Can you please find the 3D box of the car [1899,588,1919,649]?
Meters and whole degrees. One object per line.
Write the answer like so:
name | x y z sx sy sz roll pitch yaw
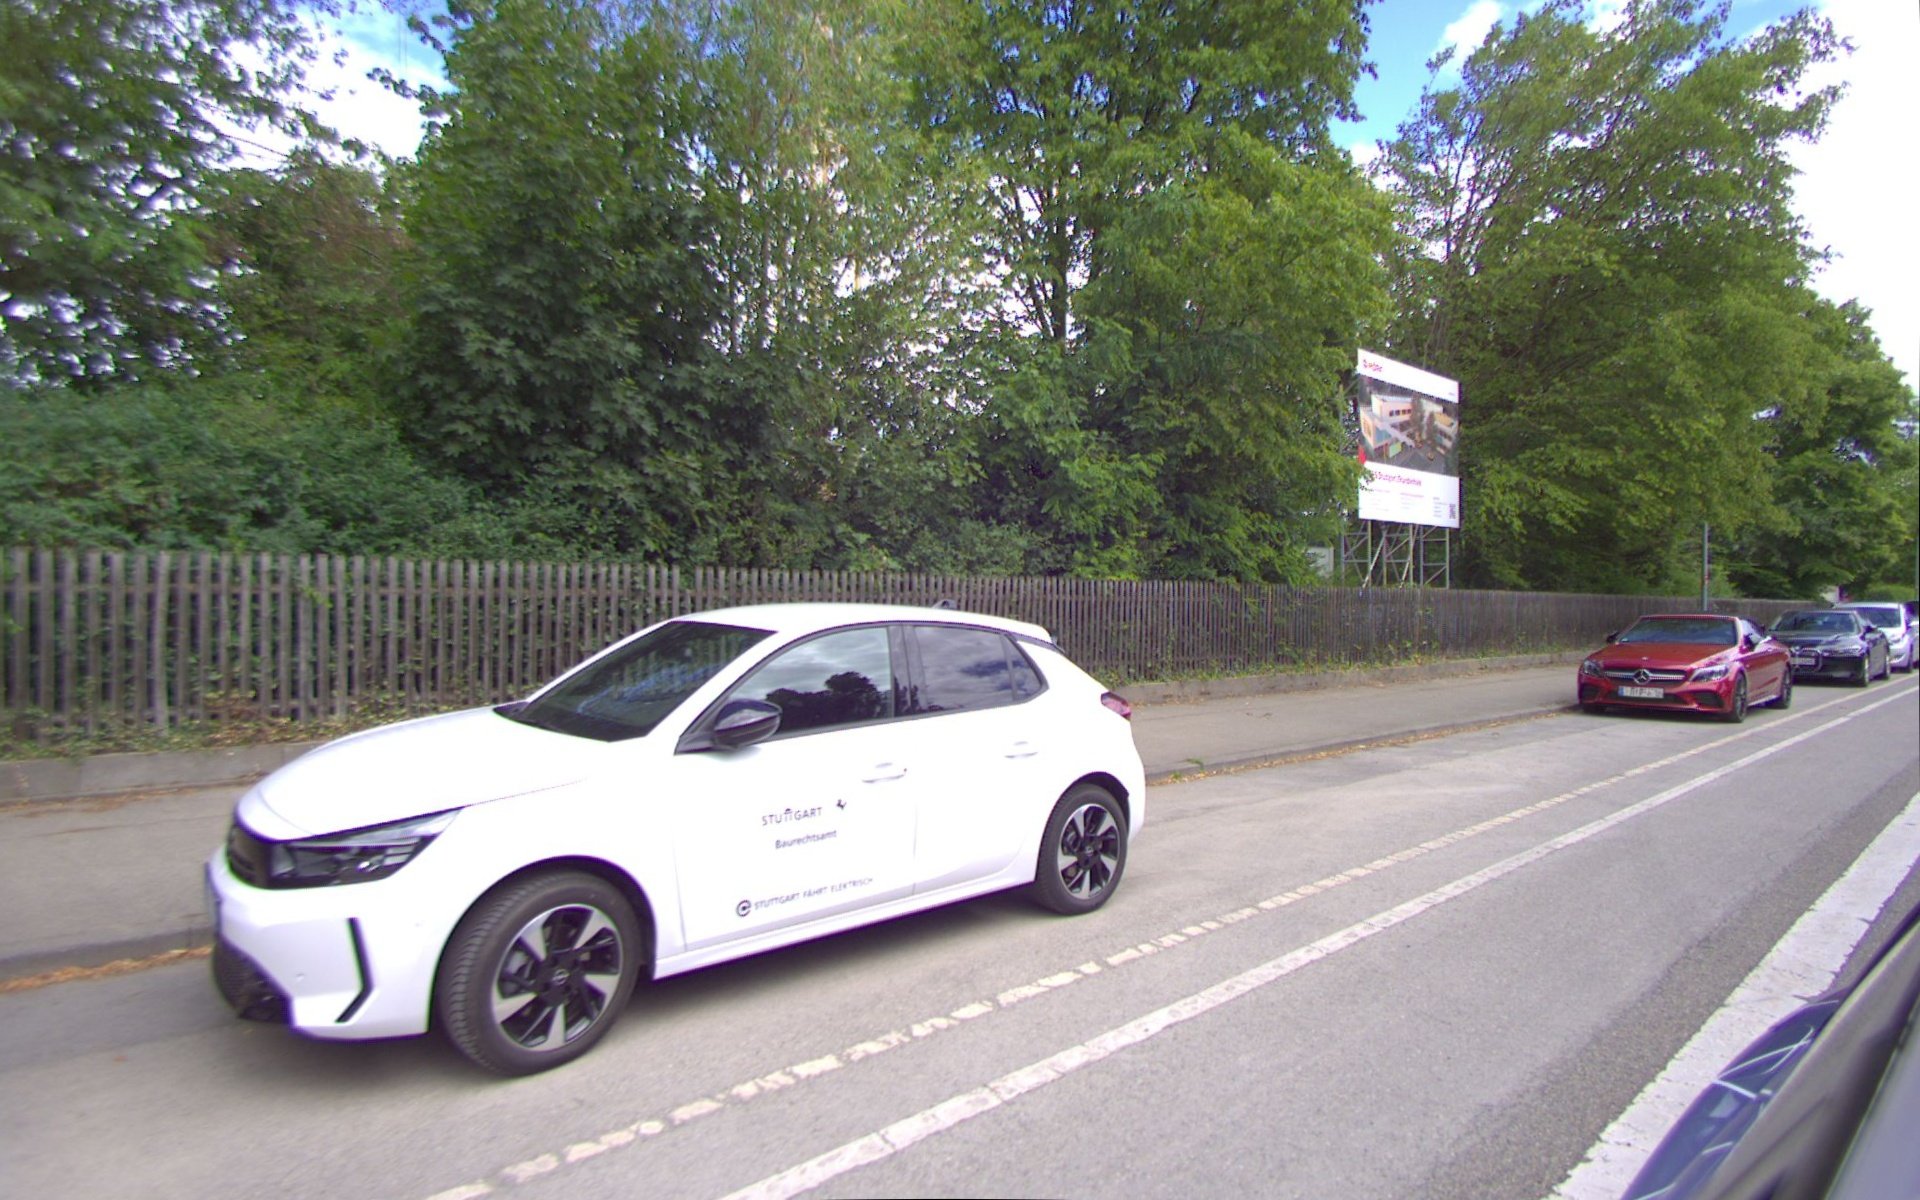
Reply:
car | 31.095 0.527 31.619 4.742 1.839 1.997 -1 0 -40

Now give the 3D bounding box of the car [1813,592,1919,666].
car | 22.004 0.624 24.235 4.346 1.609 1.865 0 0 -42

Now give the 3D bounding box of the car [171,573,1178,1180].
car | -0.977 0.662 4.505 3.959 1.529 1.771 -1 1 -40

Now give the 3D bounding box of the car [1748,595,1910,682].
car | 17.573 0.685 20.391 4.598 1.534 1.819 -1 0 -41

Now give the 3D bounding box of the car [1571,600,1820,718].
car | 10.605 0.759 14.482 4.364 1.432 1.862 1 -2 -40
